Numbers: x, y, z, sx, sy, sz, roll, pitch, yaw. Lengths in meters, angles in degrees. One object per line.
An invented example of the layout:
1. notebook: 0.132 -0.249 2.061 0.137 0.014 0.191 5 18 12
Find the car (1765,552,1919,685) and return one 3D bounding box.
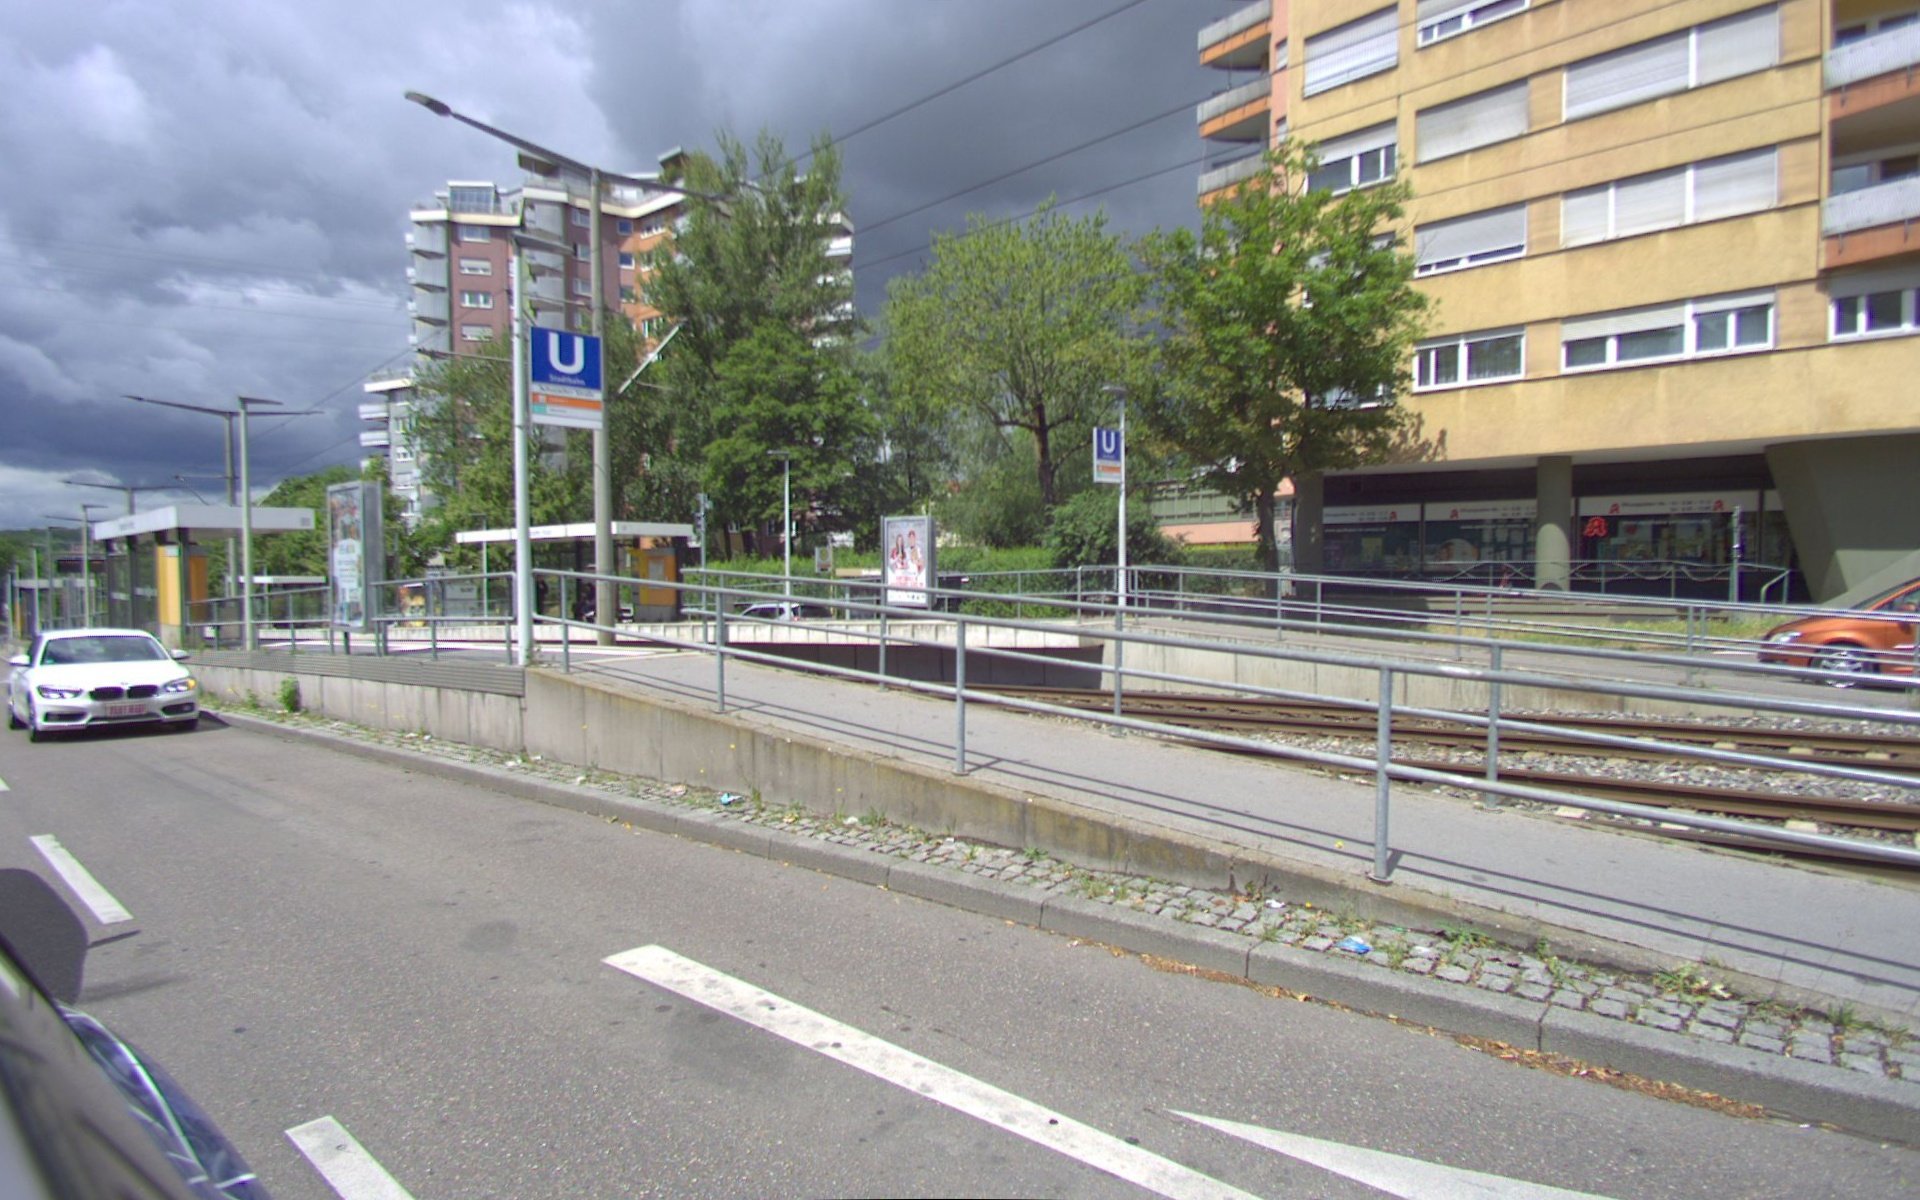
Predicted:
1. car: 13.120 0.226 12.867 4.455 1.647 1.974 -1 -2 39

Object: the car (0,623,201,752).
1. car: -12.061 1.092 14.018 3.998 1.472 1.710 -1 0 42

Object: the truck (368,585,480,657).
1. truck: -25.896 1.026 48.744 7.260 3.247 2.389 -2 -1 42

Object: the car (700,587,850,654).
1. car: -5.450 0.606 29.482 4.509 1.815 1.972 -1 -2 42
